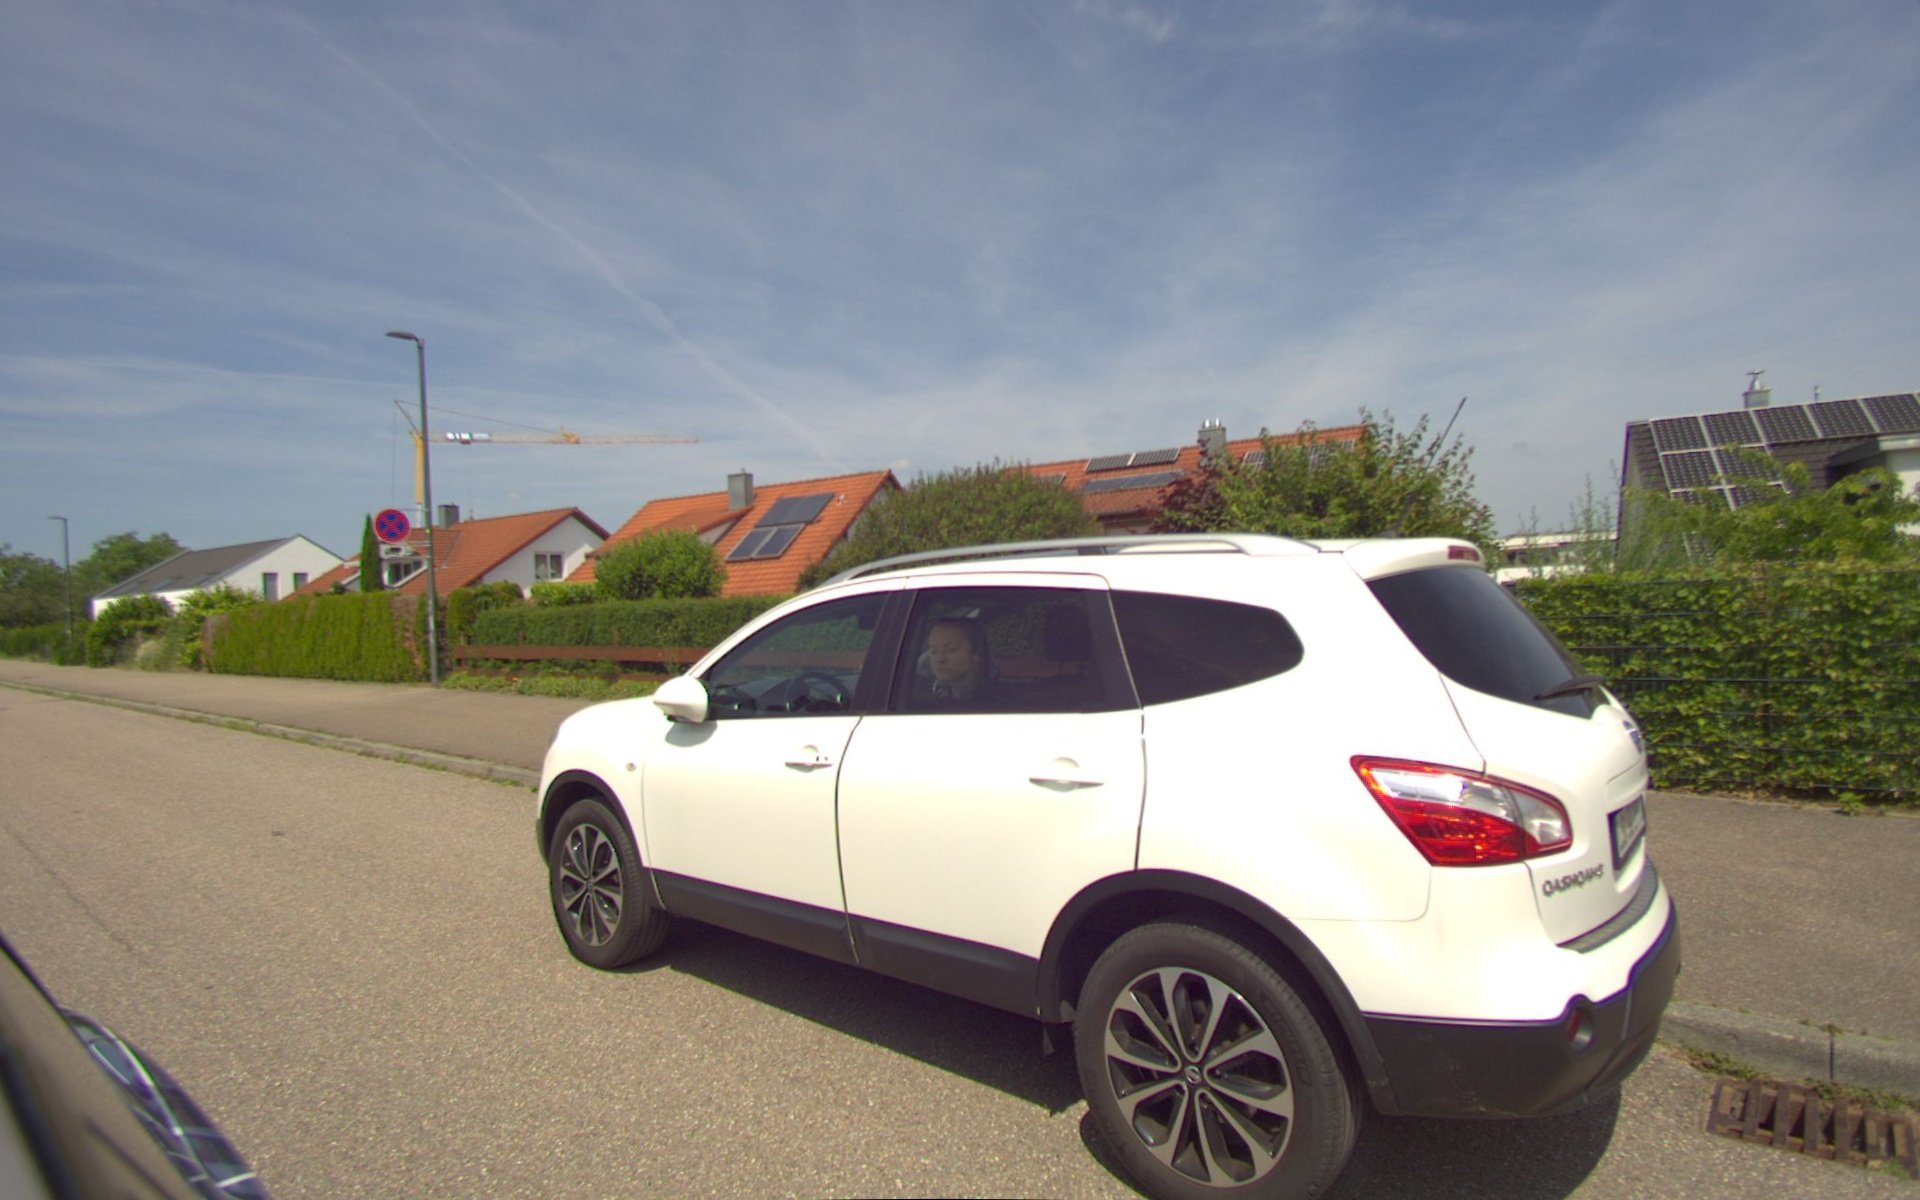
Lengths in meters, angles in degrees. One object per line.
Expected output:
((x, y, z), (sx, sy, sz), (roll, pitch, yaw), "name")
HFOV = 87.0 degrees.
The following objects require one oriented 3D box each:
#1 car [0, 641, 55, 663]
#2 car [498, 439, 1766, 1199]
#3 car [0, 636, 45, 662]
((-67.166, 3.742, 72.151), (3.832, 1.331, 1.801), (-2, -1, -45), "car")
((0.163, 0.592, 3.744), (4.349, 1.645, 1.717), (-2, -1, 40), "car")
((-73.199, 3.817, 78.008), (3.832, 1.826, 1.801), (-3, 0, -45), "car")
